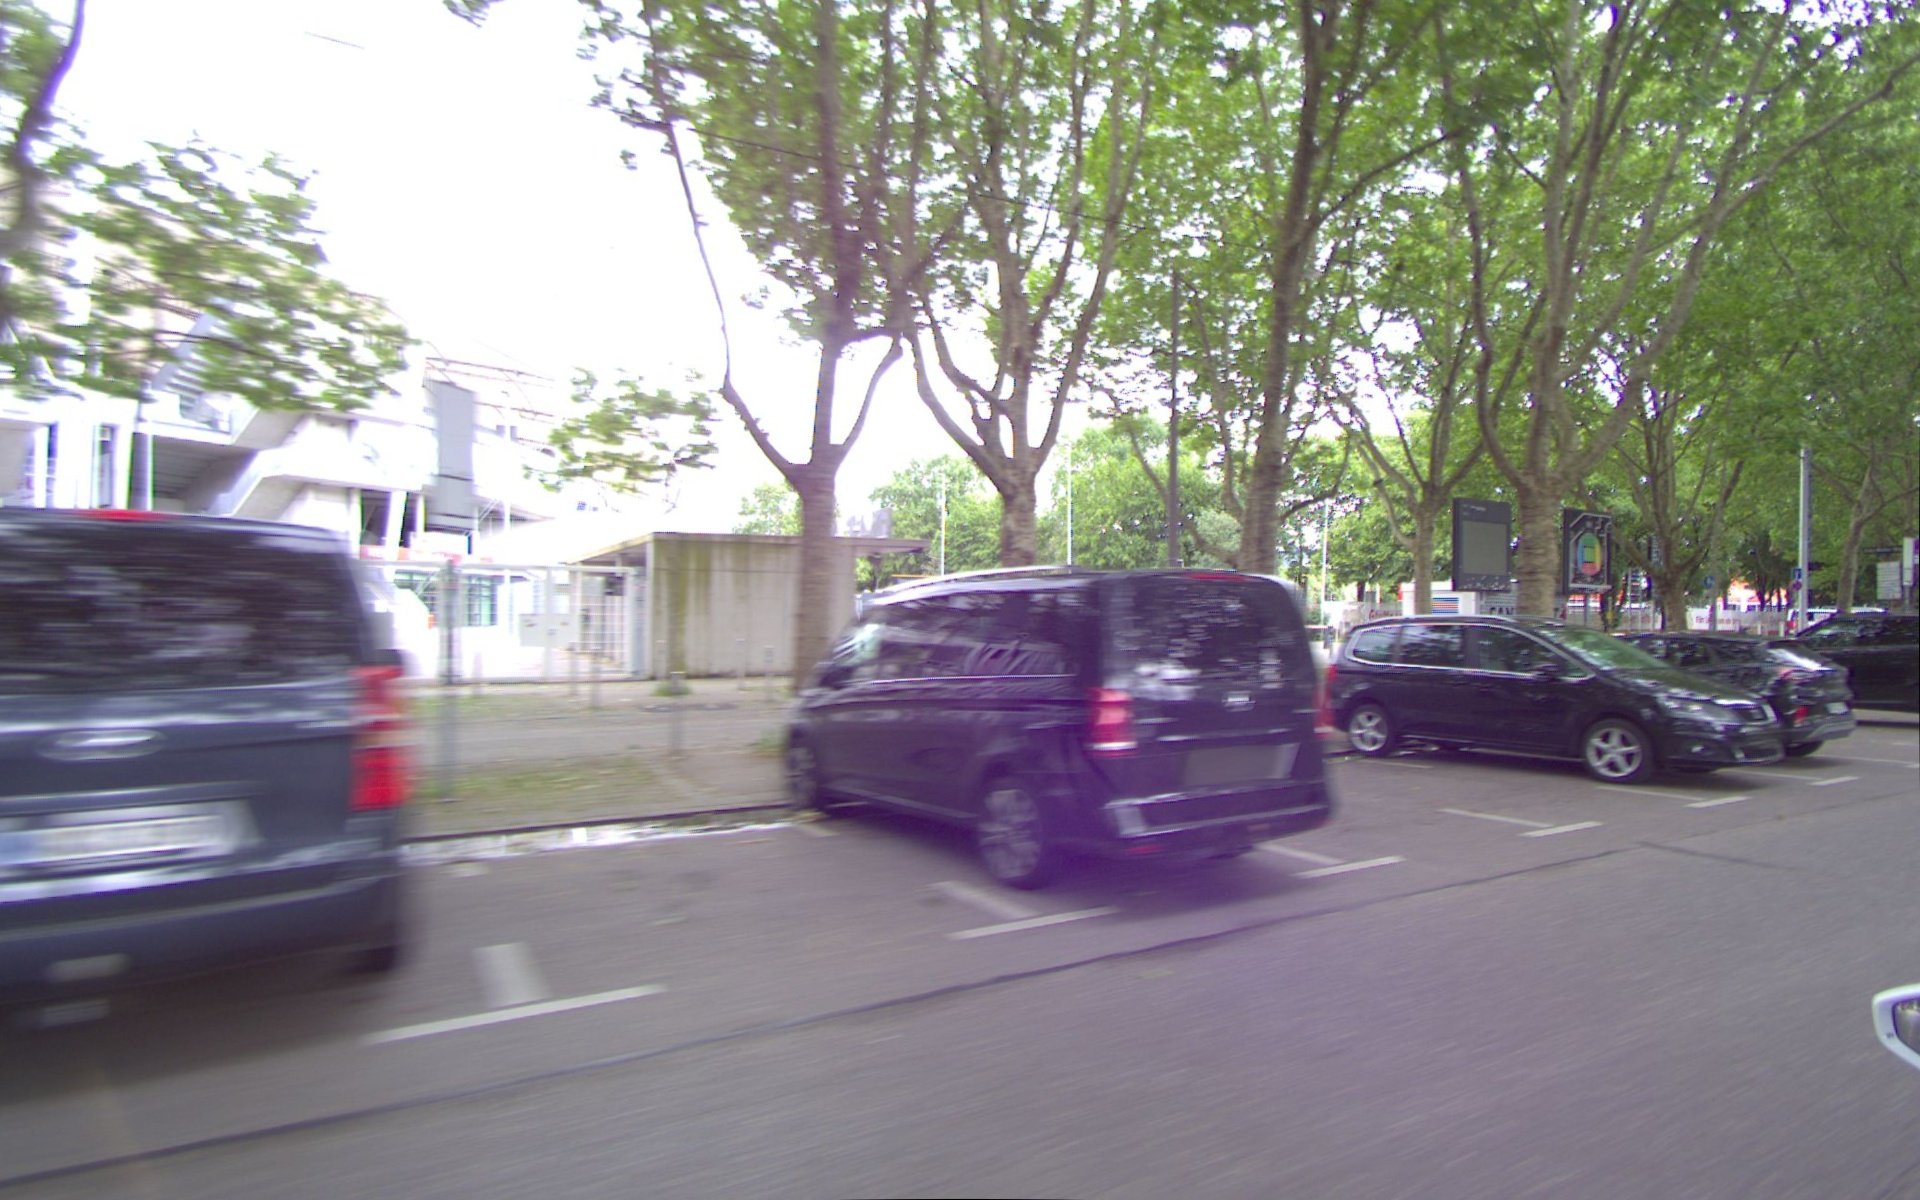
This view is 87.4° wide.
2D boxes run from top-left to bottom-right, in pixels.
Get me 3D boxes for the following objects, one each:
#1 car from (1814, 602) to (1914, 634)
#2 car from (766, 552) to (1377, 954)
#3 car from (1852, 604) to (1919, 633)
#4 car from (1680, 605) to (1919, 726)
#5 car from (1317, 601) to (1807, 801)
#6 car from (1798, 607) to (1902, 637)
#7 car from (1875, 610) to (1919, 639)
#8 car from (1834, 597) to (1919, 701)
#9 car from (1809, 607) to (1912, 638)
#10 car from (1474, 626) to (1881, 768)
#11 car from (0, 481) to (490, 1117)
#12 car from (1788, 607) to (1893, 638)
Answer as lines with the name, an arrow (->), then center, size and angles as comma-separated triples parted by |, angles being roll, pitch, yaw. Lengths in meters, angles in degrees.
car -> 76.098, 1.455, 84.673 | 1.976, 2.560, 5.973 | 1, 0, -30
car -> 0.350, 0.833, 7.576 | 2.181, 1.949, 4.885 | 1, -2, -29
car -> 82.050, 1.601, 87.684 | 1.976, 2.361, 5.973 | 1, 0, -30
car -> 14.972, 1.051, 16.634 | 1.785, 1.844, 4.632 | 1, -2, -30
car -> 6.544, 1.015, 11.581 | 1.775, 1.805, 4.562 | 0, -2, -28
car -> 71.881, 1.747, 81.249 | 1.976, 2.282, 5.973 | 1, 0, -30
car -> 86.587, 2.211, 90.384 | 1.976, 2.560, 5.973 | 1, 0, -30
car -> 21.465, 0.971, 20.274 | 1.918, 2.156, 5.409 | 0, -2, -31
car -> 74.152, 1.844, 82.845 | 1.976, 2.349, 5.973 | 1, 0, -30
car -> 8.929, 1.140, 12.884 | 1.731, 1.513, 3.884 | 1, -3, -27
car -> -3.959, 0.687, 5.270 | 1.997, 1.949, 4.733 | 1, -2, -34
car -> 69.993, 1.746, 79.978 | 1.976, 2.282, 5.973 | 1, 0, -30
